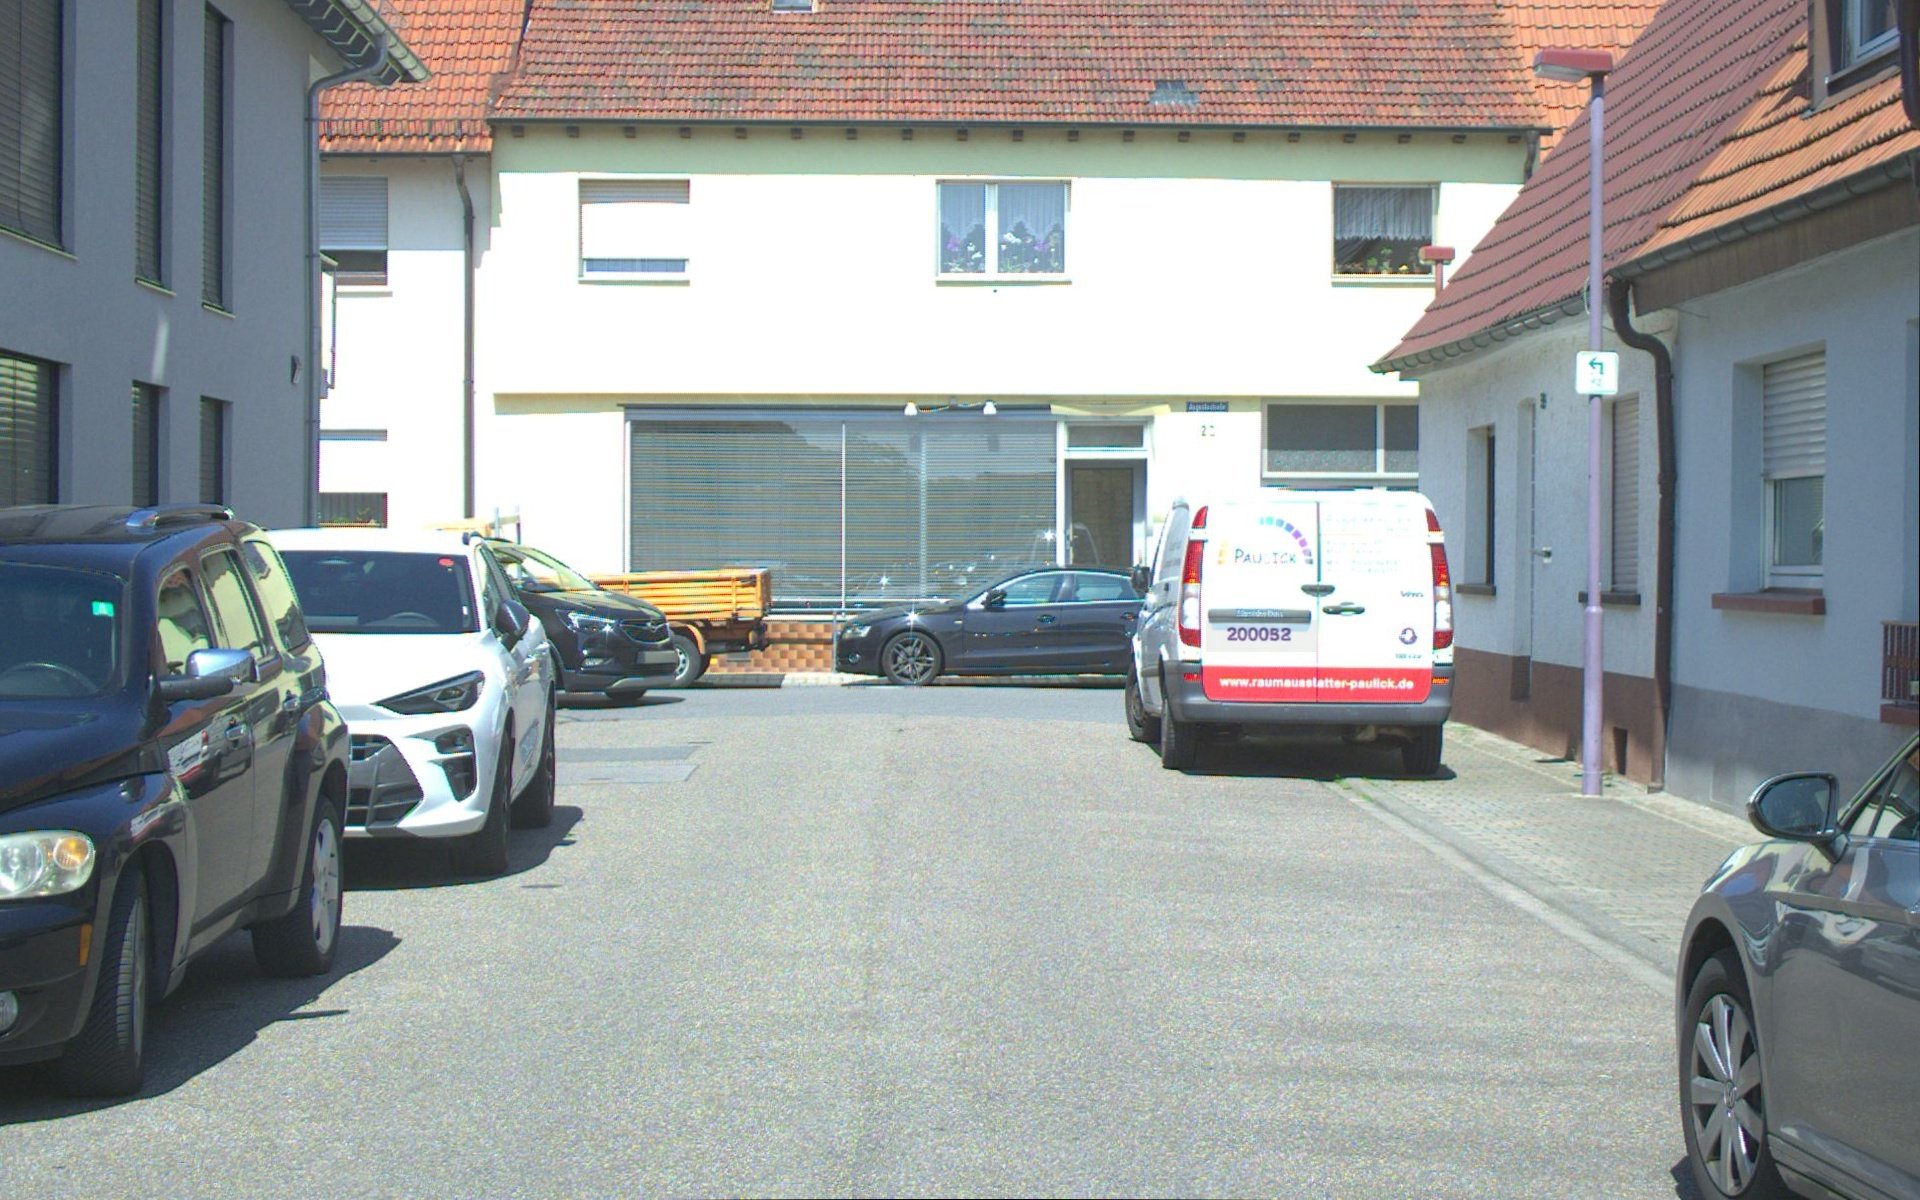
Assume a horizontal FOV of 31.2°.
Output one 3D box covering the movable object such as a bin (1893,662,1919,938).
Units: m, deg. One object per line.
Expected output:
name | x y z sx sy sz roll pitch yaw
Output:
movable object such as a bin | 4.085 0.791 13.370 0.658 1.067 0.813 0 1 -2

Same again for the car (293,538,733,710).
car | -4.462 0.214 34.041 4.276 1.577 1.759 0 2 37

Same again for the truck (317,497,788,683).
truck | -4.532 -0.115 38.881 5.063 2.007 2.190 0 0 0

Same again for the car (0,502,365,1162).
car | -3.041 0.549 10.386 1.722 1.610 3.989 -1 1 1

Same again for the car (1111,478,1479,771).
car | 2.256 0.122 24.597 2.012 1.832 5.265 1 1 -1

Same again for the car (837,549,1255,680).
car | 0.922 0.184 38.951 4.616 1.390 1.928 0 -2 -2

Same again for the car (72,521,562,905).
car | -2.989 0.450 16.830 1.774 1.610 4.349 -1 1 -3

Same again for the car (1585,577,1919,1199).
car | 2.548 0.718 6.075 1.838 1.443 4.776 1 1 -2
